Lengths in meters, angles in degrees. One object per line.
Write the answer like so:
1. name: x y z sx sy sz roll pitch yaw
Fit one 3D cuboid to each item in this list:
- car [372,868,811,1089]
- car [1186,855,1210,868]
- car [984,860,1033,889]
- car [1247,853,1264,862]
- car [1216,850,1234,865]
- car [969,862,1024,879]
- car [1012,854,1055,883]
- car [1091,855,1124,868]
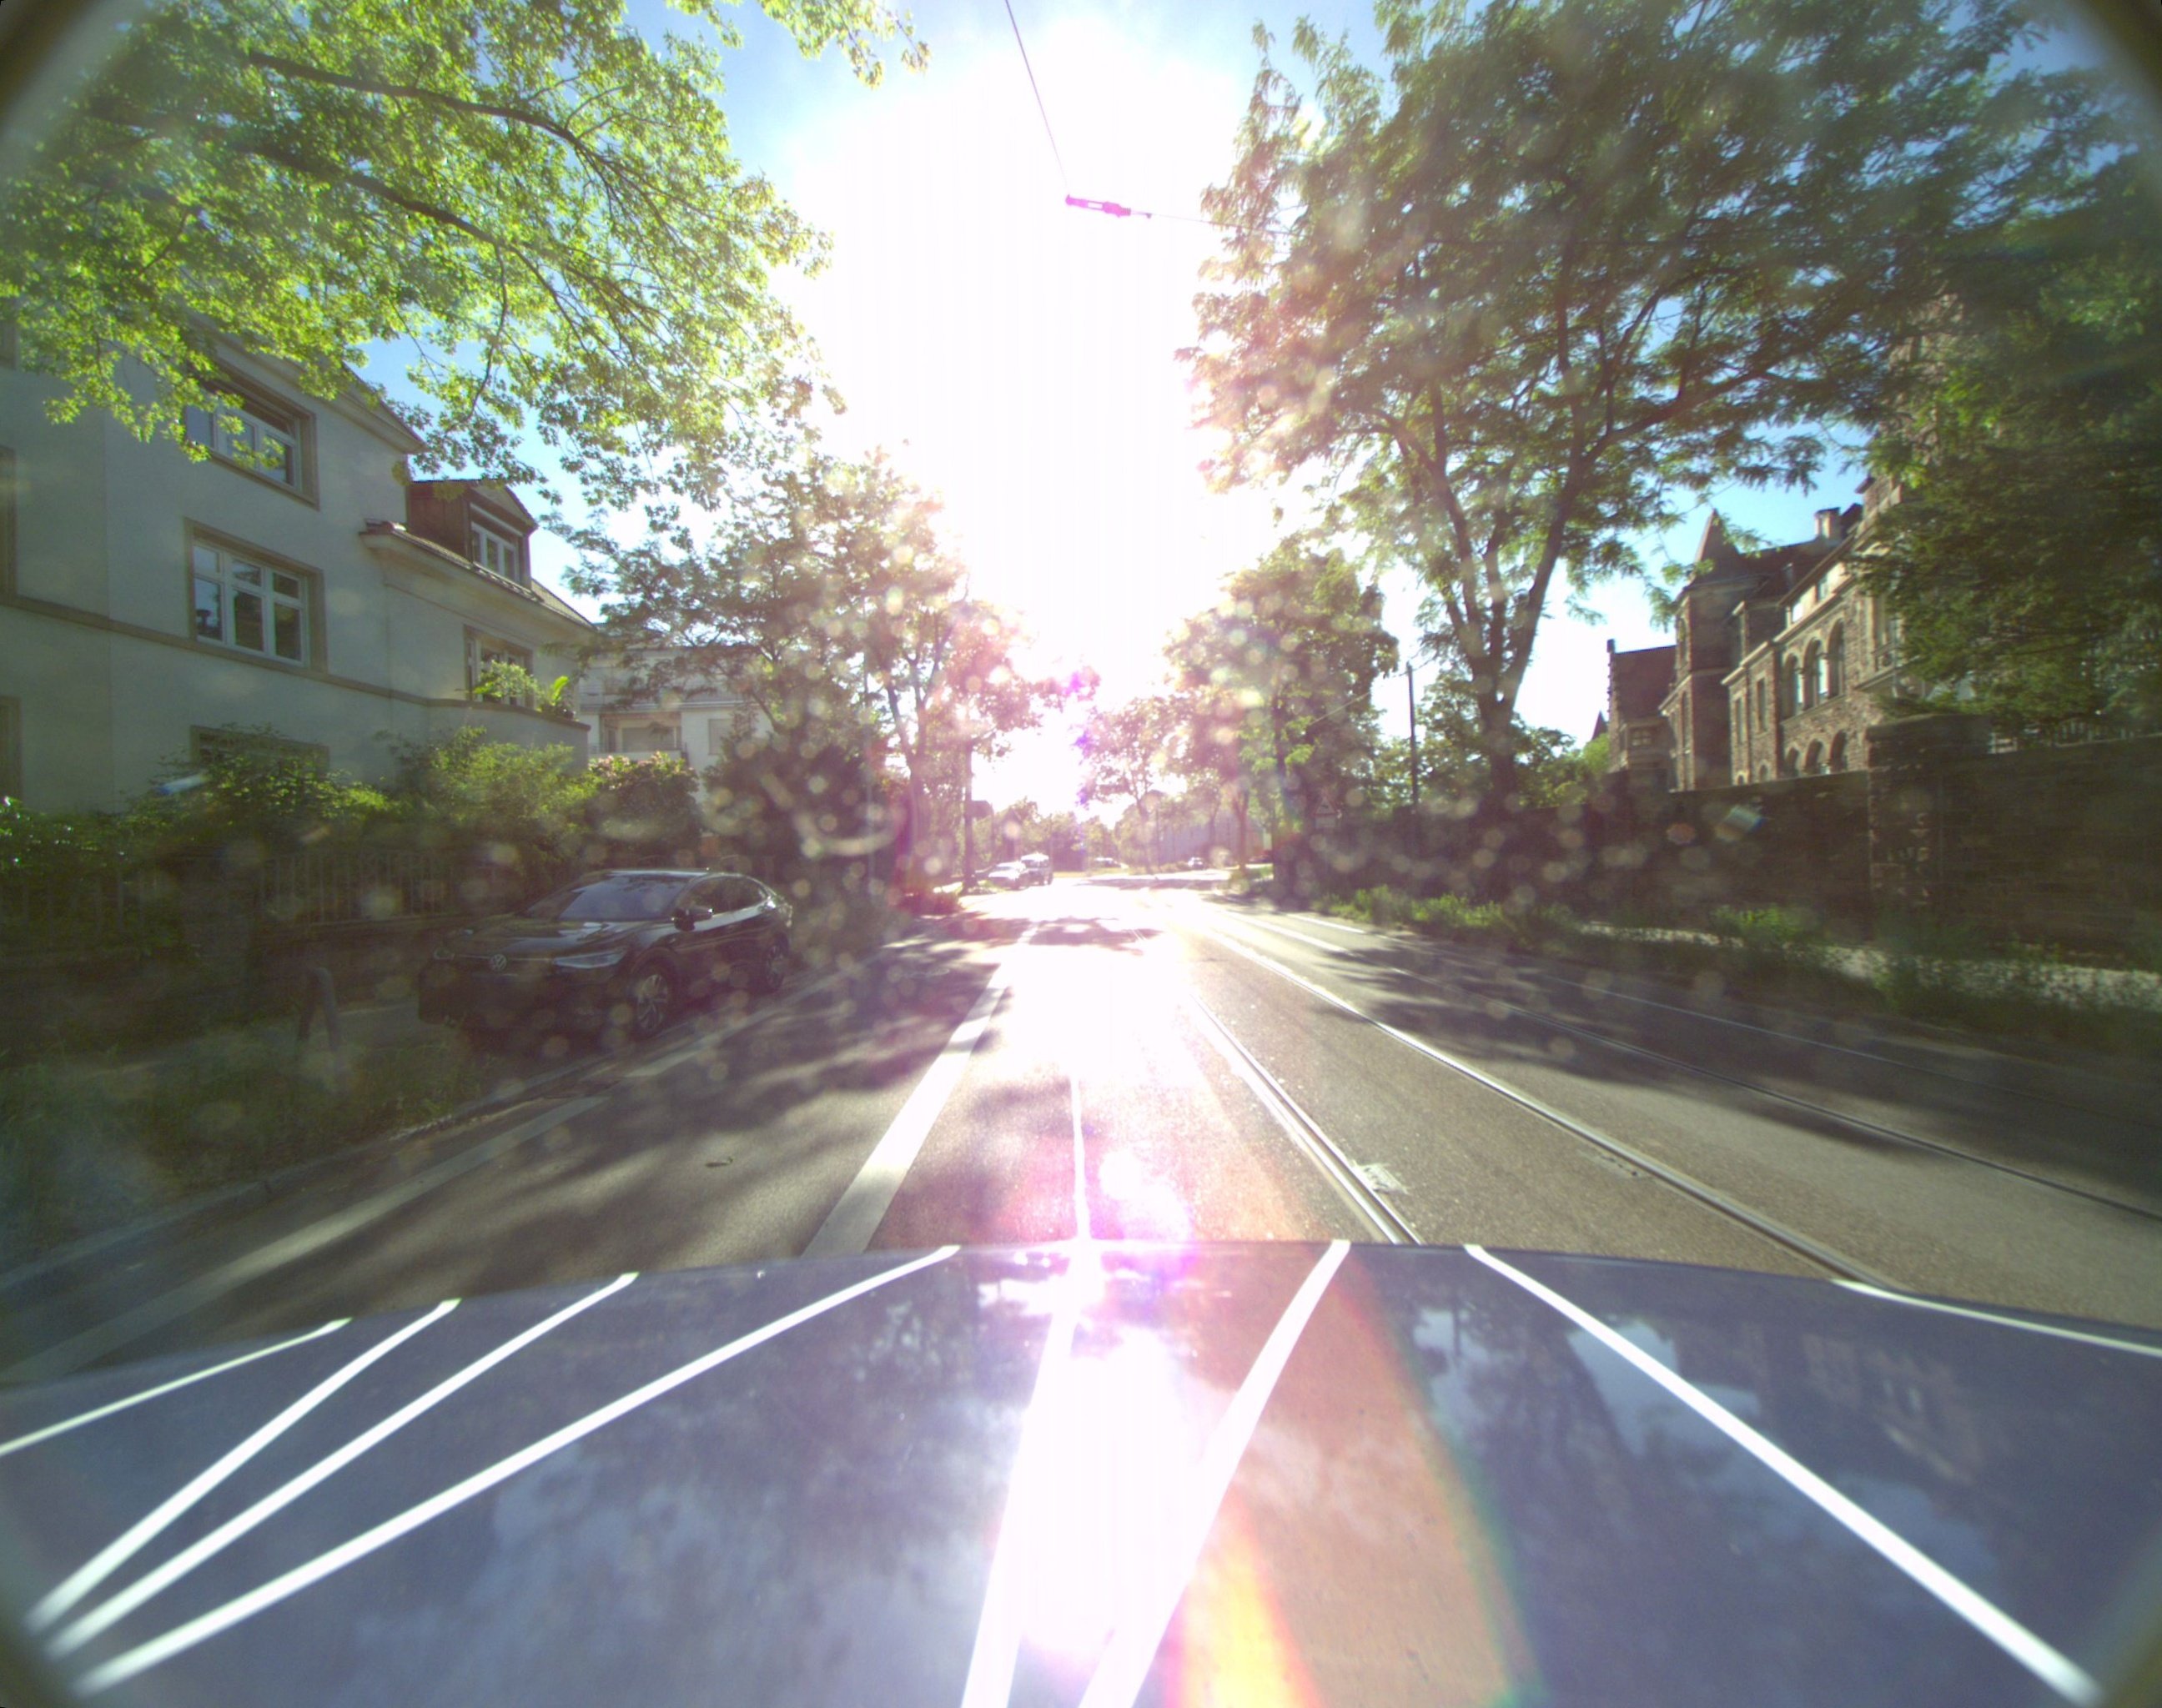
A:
1. car: -4.890 1.074 8.642 1.808 1.684 4.729 2 0 2
2. car: 14.783 0.936 95.735 2.002 1.457 5.440 2 1 19
3. car: -3.994 1.117 42.586 1.998 1.414 4.333 -1 1 5
4. car: 32.510 0.643 141.395 1.739 1.487 4.538 -2 0 30
5. car: 21.389 0.489 112.852 1.996 2.083 4.723 -1 0 19
6. car: -7.408 1.438 66.743 4.520 1.361 1.969 -2 0 3
7. car: -2.967 0.895 48.507 2.027 1.736 4.754 -1 0 5
8. car: 4.402 1.191 125.692 5.208 1.874 2.100 -2 0 3
